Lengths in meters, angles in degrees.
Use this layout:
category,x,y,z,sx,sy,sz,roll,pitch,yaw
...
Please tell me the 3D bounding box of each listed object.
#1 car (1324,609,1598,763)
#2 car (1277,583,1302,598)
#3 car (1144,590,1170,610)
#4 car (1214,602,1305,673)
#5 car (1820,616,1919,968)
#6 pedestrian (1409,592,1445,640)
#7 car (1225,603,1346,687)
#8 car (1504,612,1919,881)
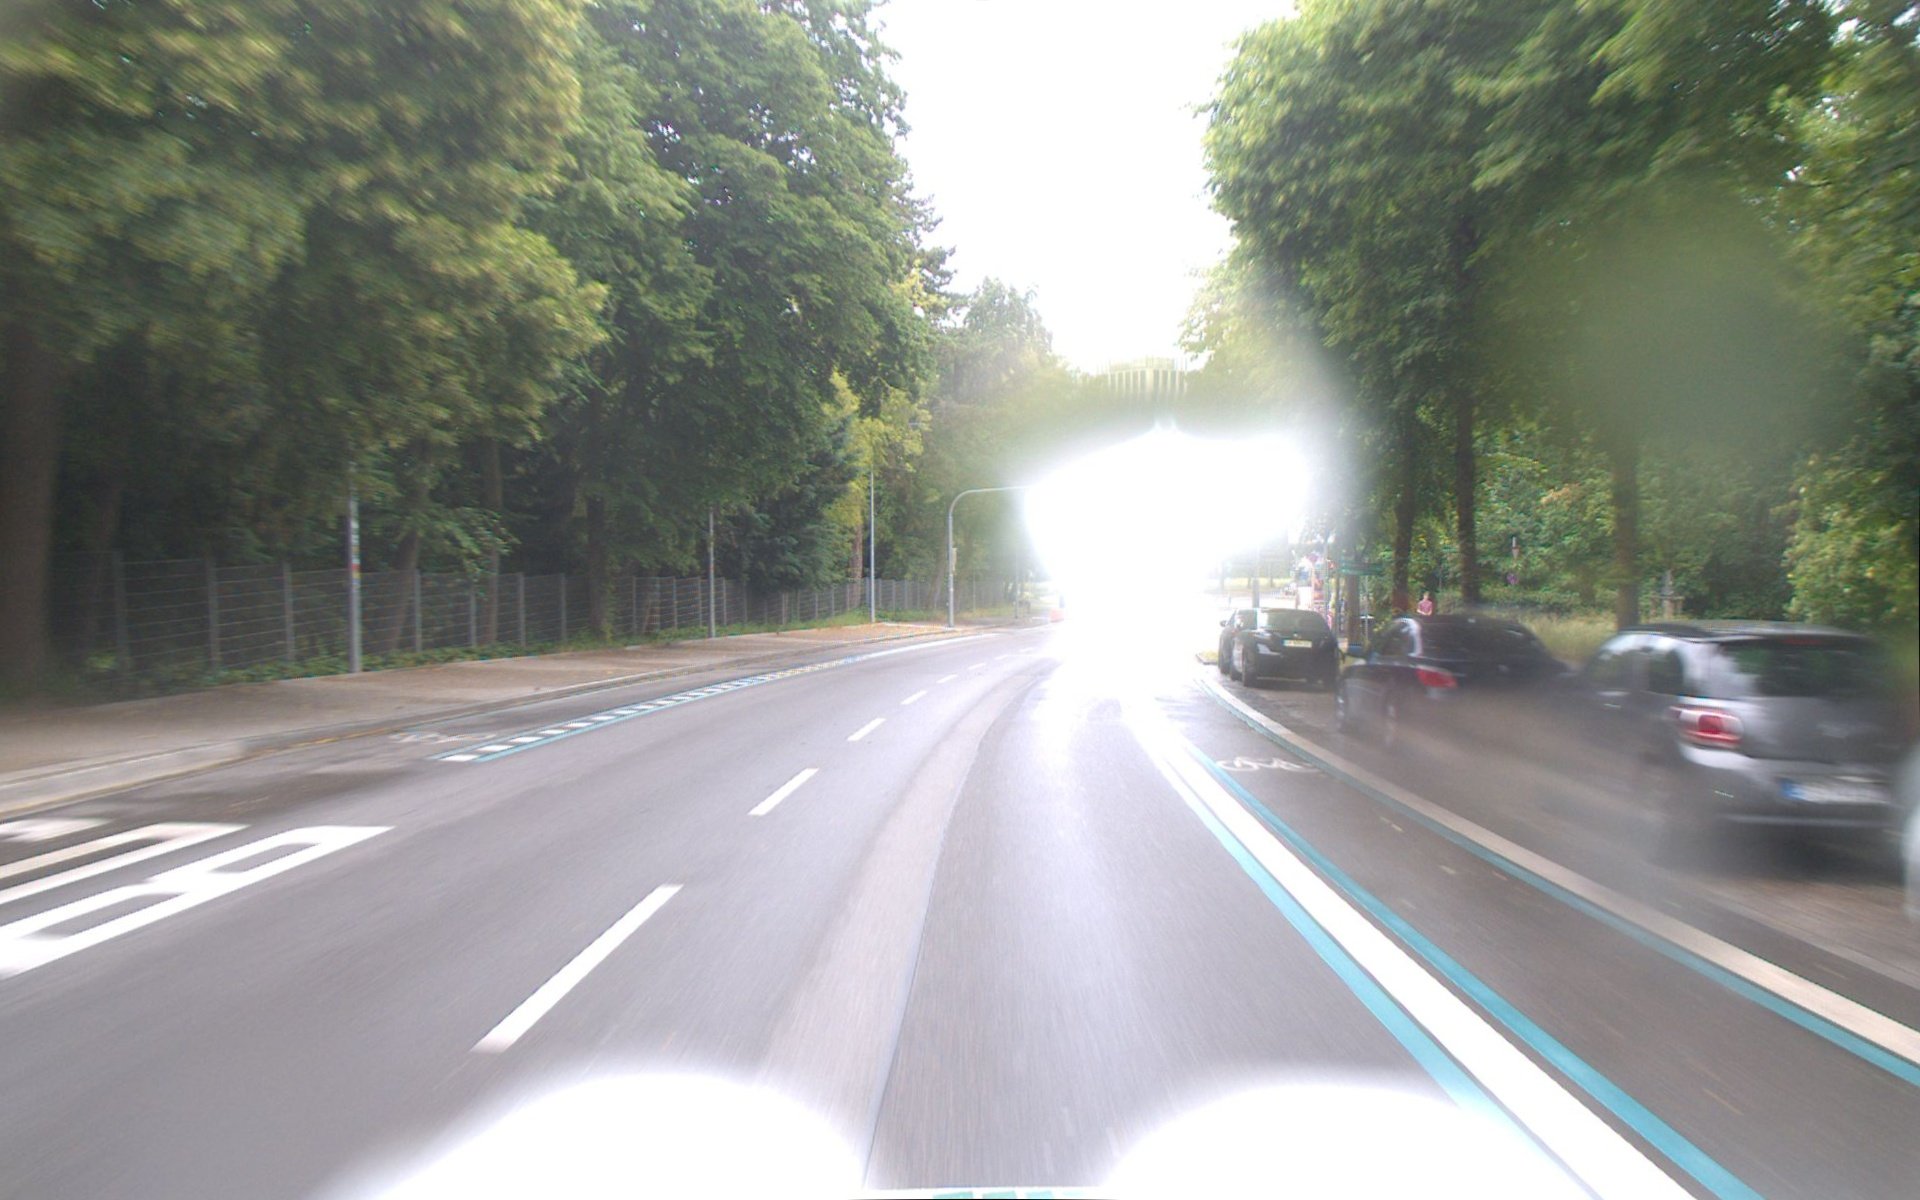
category,x,y,z,sx,sy,sz,roll,pitch,yaw
car,5.379,0.844,18.433,1.744,1.432,4.847,2,0,3
car,39.010,-1.146,195.662,1.955,1.715,3.996,1,0,27
car,16.520,-0.018,138.335,1.804,1.482,4.504,1,1,11
car,6.823,0.814,38.090,1.720,1.465,4.861,2,0,7
car,4.856,0.823,5.356,1.821,1.453,4.650,2,0,2
pedestrian,17.381,0.581,61.591,0.870,1.763,1.144,1,0,-8
car,6.267,0.824,32.288,1.663,1.445,4.765,2,0,4
car,5.137,0.836,11.400,1.648,1.453,4.320,2,0,5
